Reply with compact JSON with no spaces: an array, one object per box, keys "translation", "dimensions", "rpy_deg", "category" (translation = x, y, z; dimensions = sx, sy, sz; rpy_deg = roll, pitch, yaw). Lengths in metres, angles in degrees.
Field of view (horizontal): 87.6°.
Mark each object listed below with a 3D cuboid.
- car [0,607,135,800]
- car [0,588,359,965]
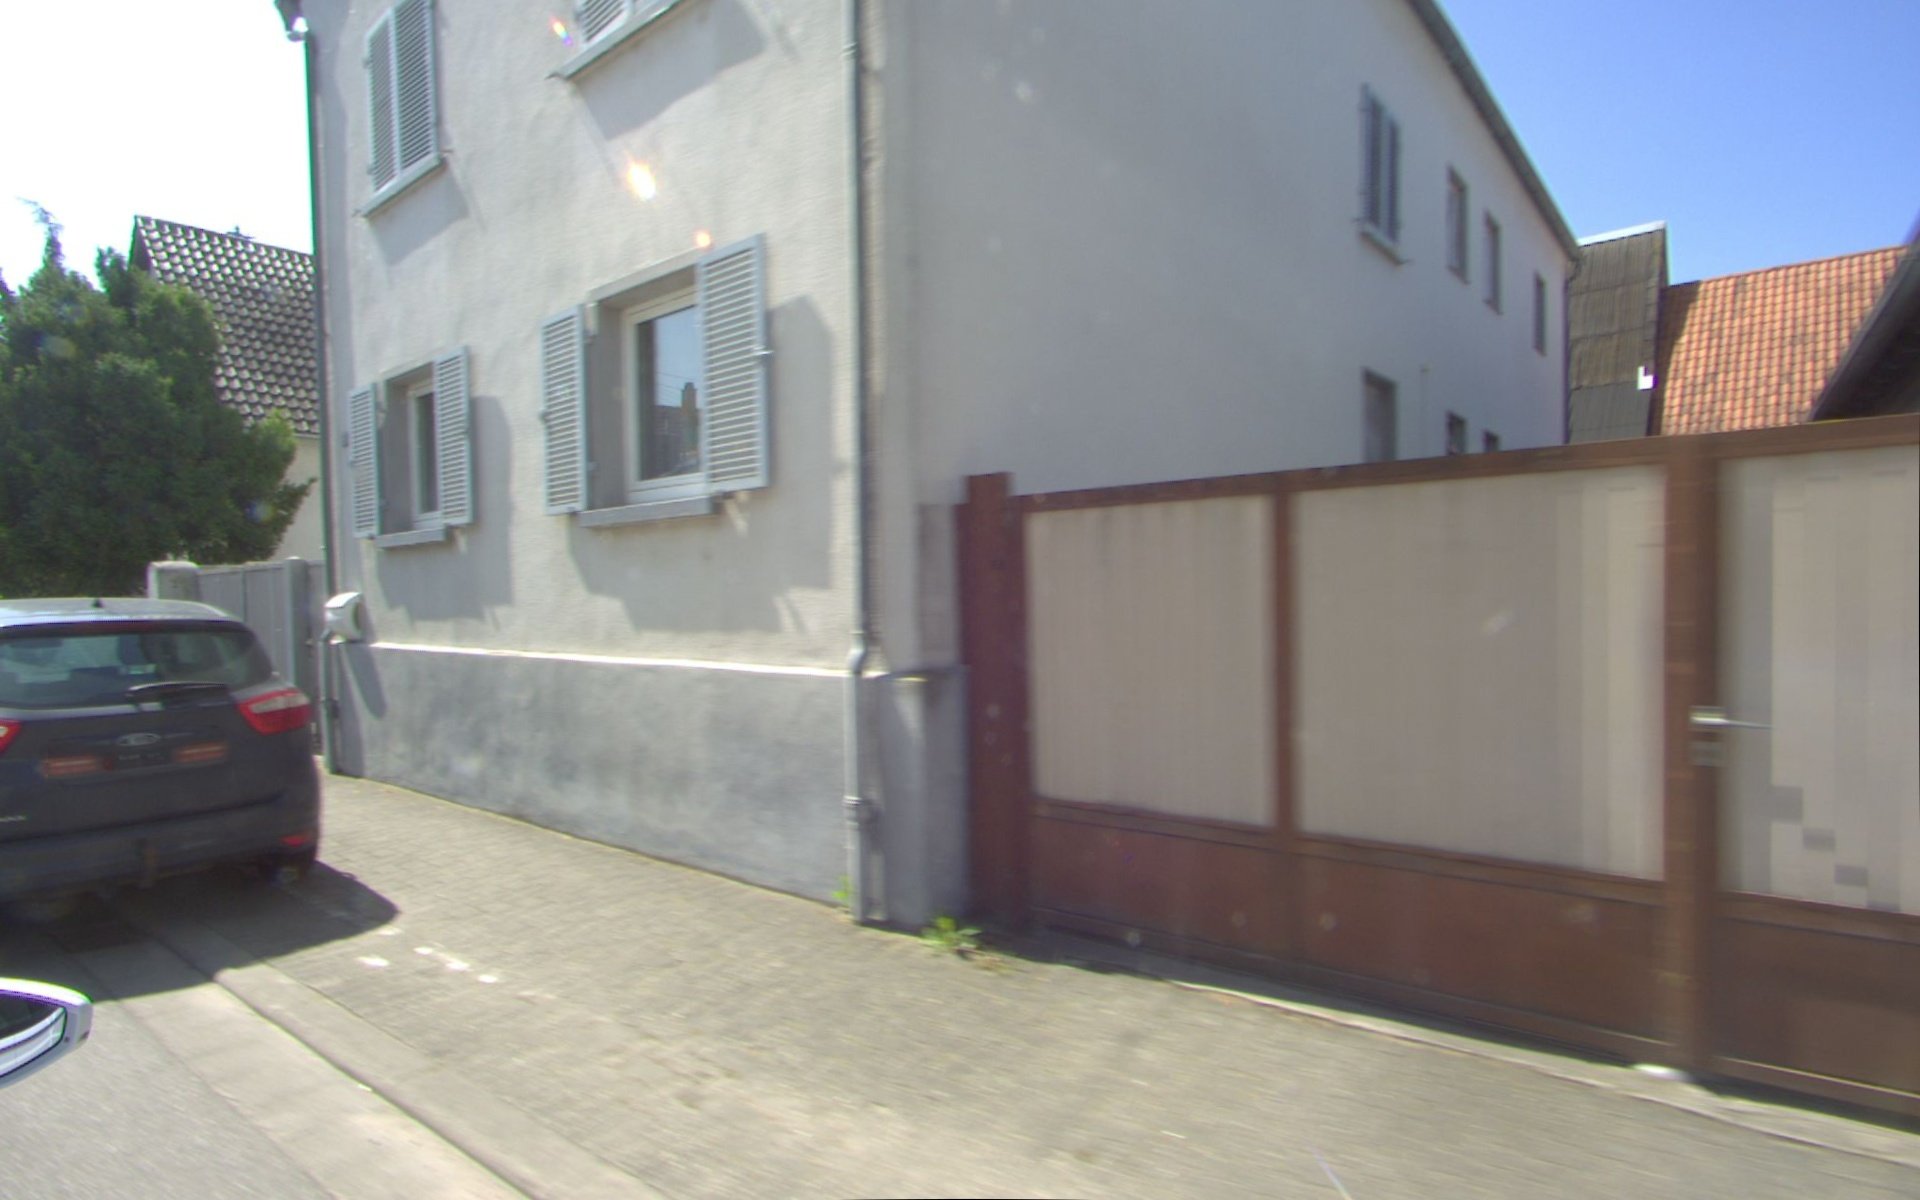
[{"translation":[-9.521,0.867,9.367],"dimensions":[4.524,1.528,1.812],"rpy_deg":[-1,0,38],"category":"car"},{"translation":[-5.497,0.765,6.020],"dimensions":[4.576,1.581,1.789],"rpy_deg":[-1,0,40],"category":"car"}]
